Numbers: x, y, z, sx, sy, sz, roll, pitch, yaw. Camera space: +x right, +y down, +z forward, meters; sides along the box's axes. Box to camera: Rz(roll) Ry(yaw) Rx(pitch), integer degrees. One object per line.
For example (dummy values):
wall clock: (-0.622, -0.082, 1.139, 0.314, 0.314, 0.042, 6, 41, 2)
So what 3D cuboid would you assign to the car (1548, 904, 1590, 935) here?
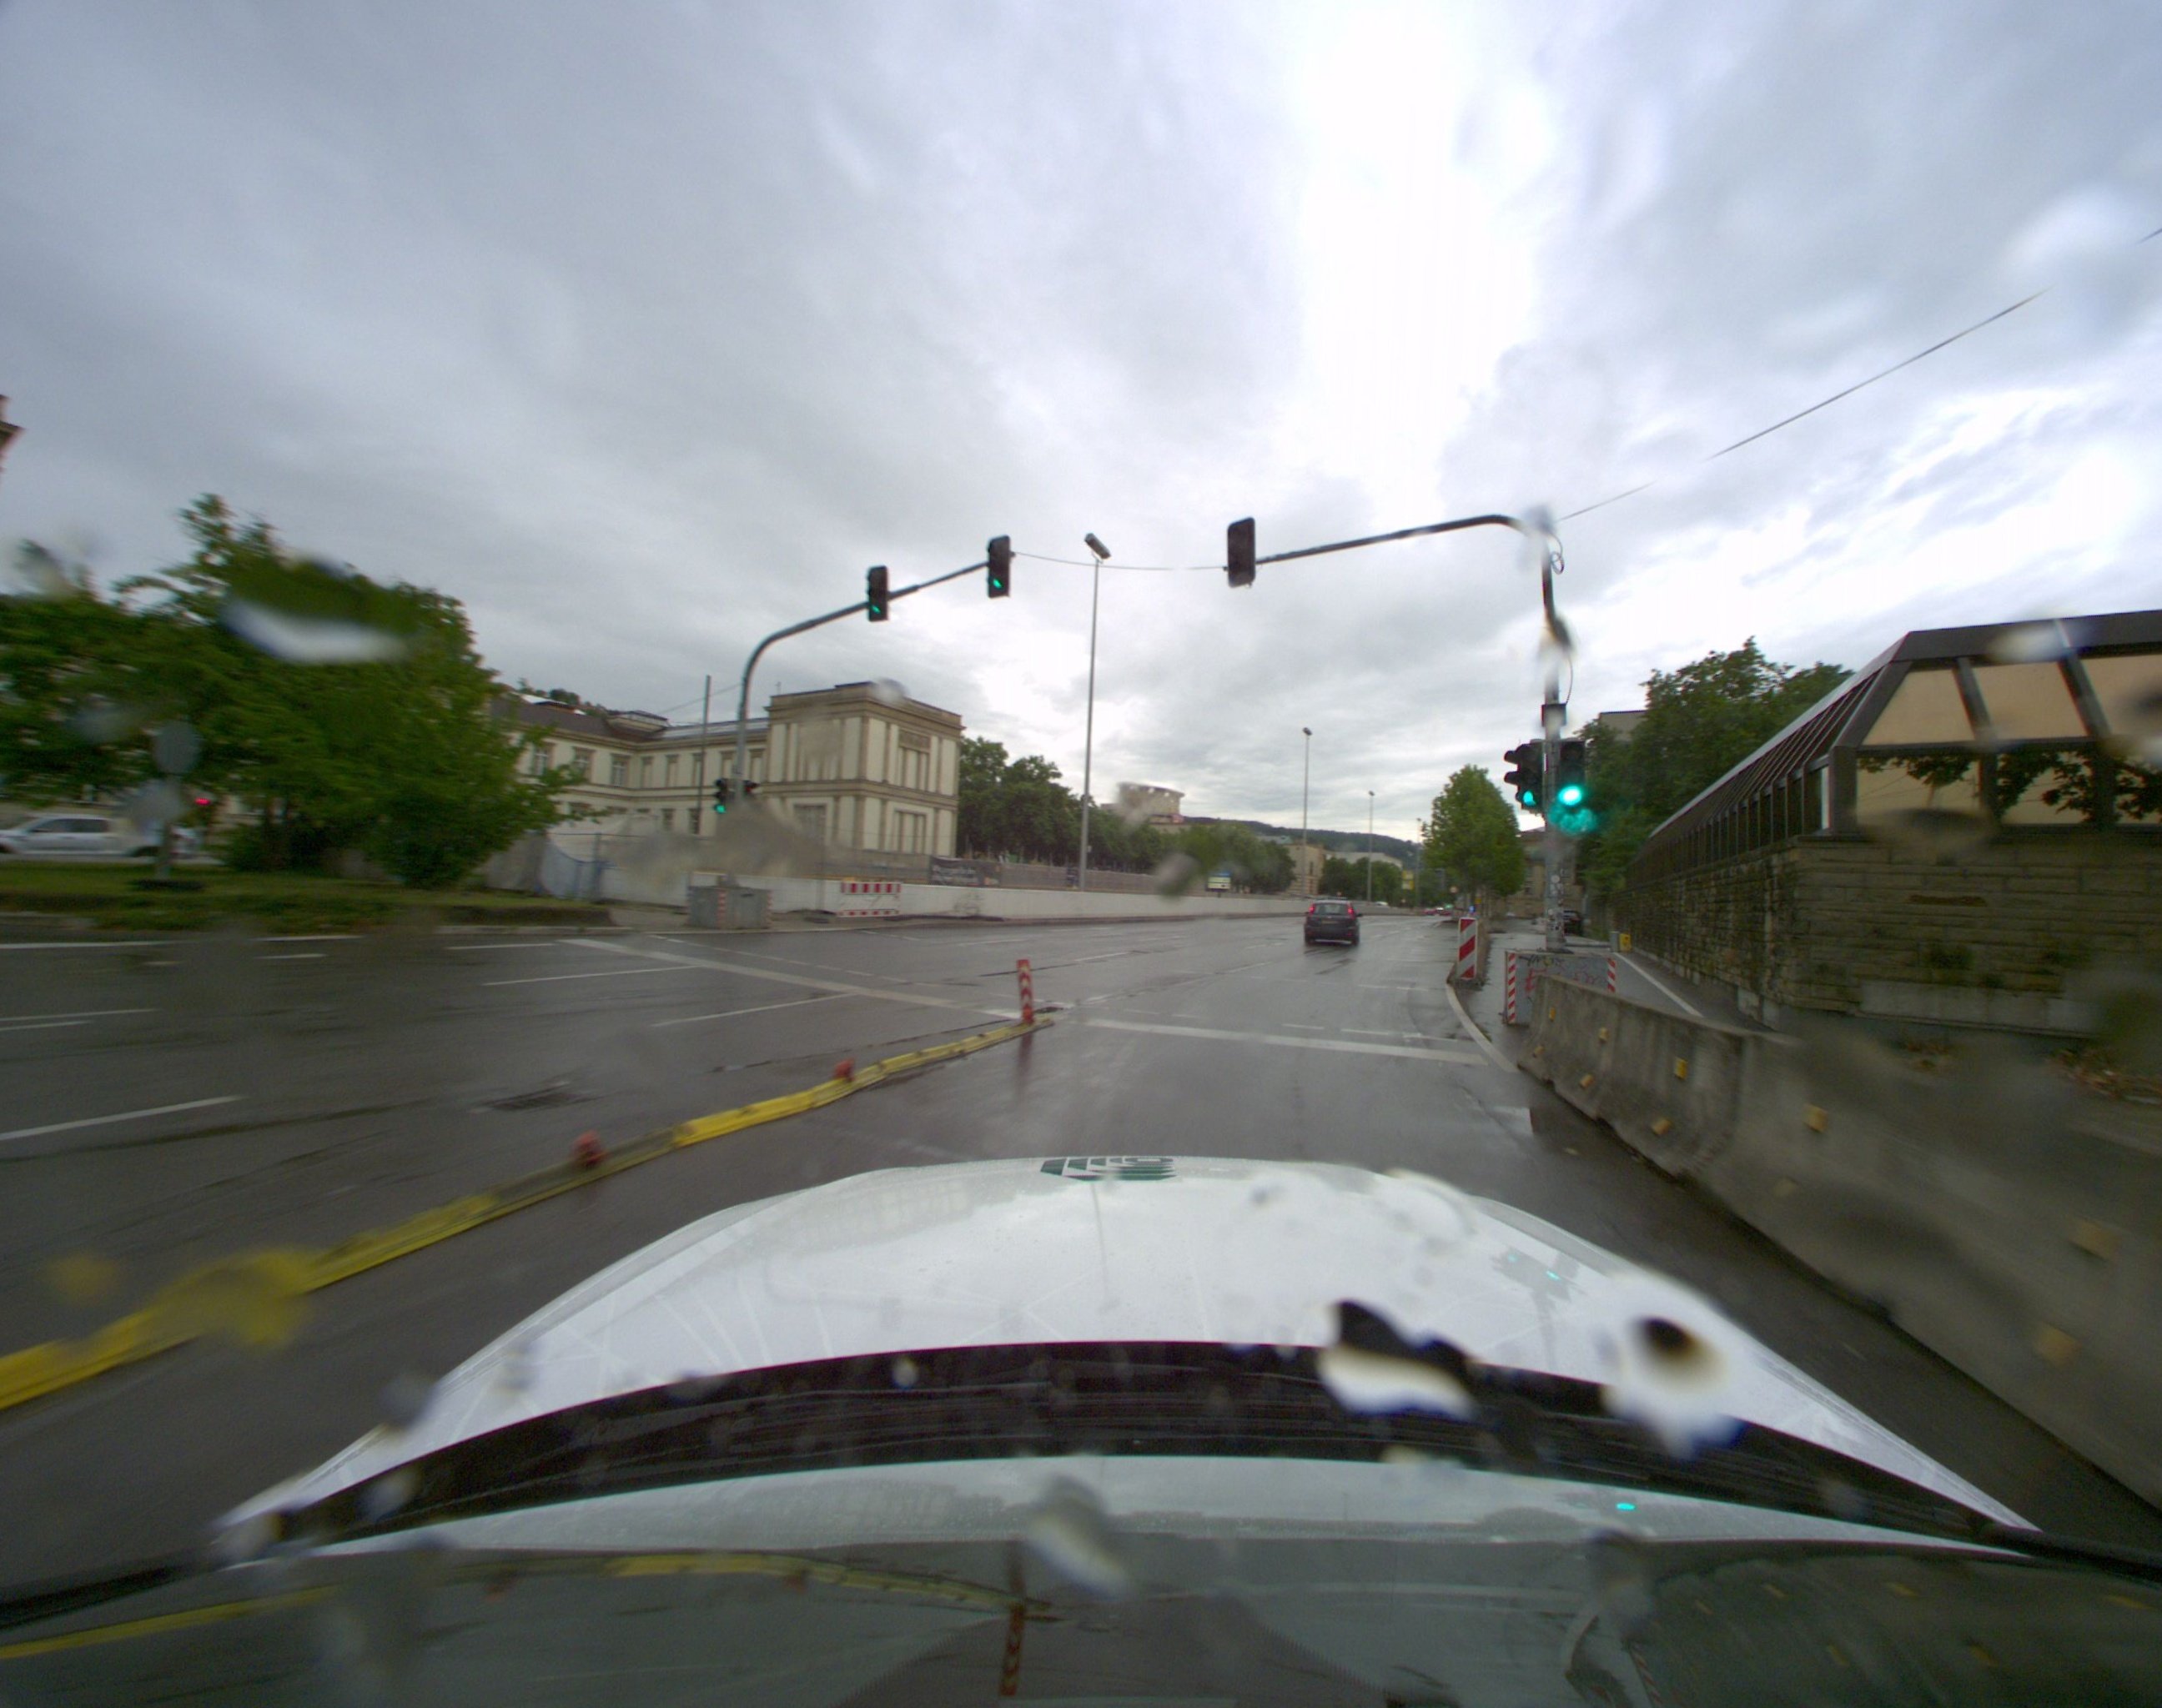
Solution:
car: (28.044, 3.751, 46.747, 1.787, 1.552, 4.352, -6, -5, 32)

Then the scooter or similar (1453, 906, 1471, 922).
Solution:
scooter or similar: (34.033, 5.359, 72.818, 1.343, 1.286, 0.623, 3, -4, 29)

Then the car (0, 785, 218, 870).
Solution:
car: (-30.593, -0.803, 24.529, 2.346, 2.174, 5.703, 4, -2, 15)

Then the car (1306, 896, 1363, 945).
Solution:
car: (8.359, 2.159, 26.996, 1.657, 1.427, 3.772, 1, -3, 16)

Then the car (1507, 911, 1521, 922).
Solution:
car: (79.811, 11.532, 150.169, 1.974, 1.709, 4.024, 2, -2, 33)

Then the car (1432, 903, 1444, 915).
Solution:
car: (70.035, 10.833, 159.708, 1.976, 2.014, 4.020, 4, -4, 23)

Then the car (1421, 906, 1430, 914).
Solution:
car: (58.875, 9.584, 139.014, 1.373, 1.387, 3.083, 0, -4, 24)
